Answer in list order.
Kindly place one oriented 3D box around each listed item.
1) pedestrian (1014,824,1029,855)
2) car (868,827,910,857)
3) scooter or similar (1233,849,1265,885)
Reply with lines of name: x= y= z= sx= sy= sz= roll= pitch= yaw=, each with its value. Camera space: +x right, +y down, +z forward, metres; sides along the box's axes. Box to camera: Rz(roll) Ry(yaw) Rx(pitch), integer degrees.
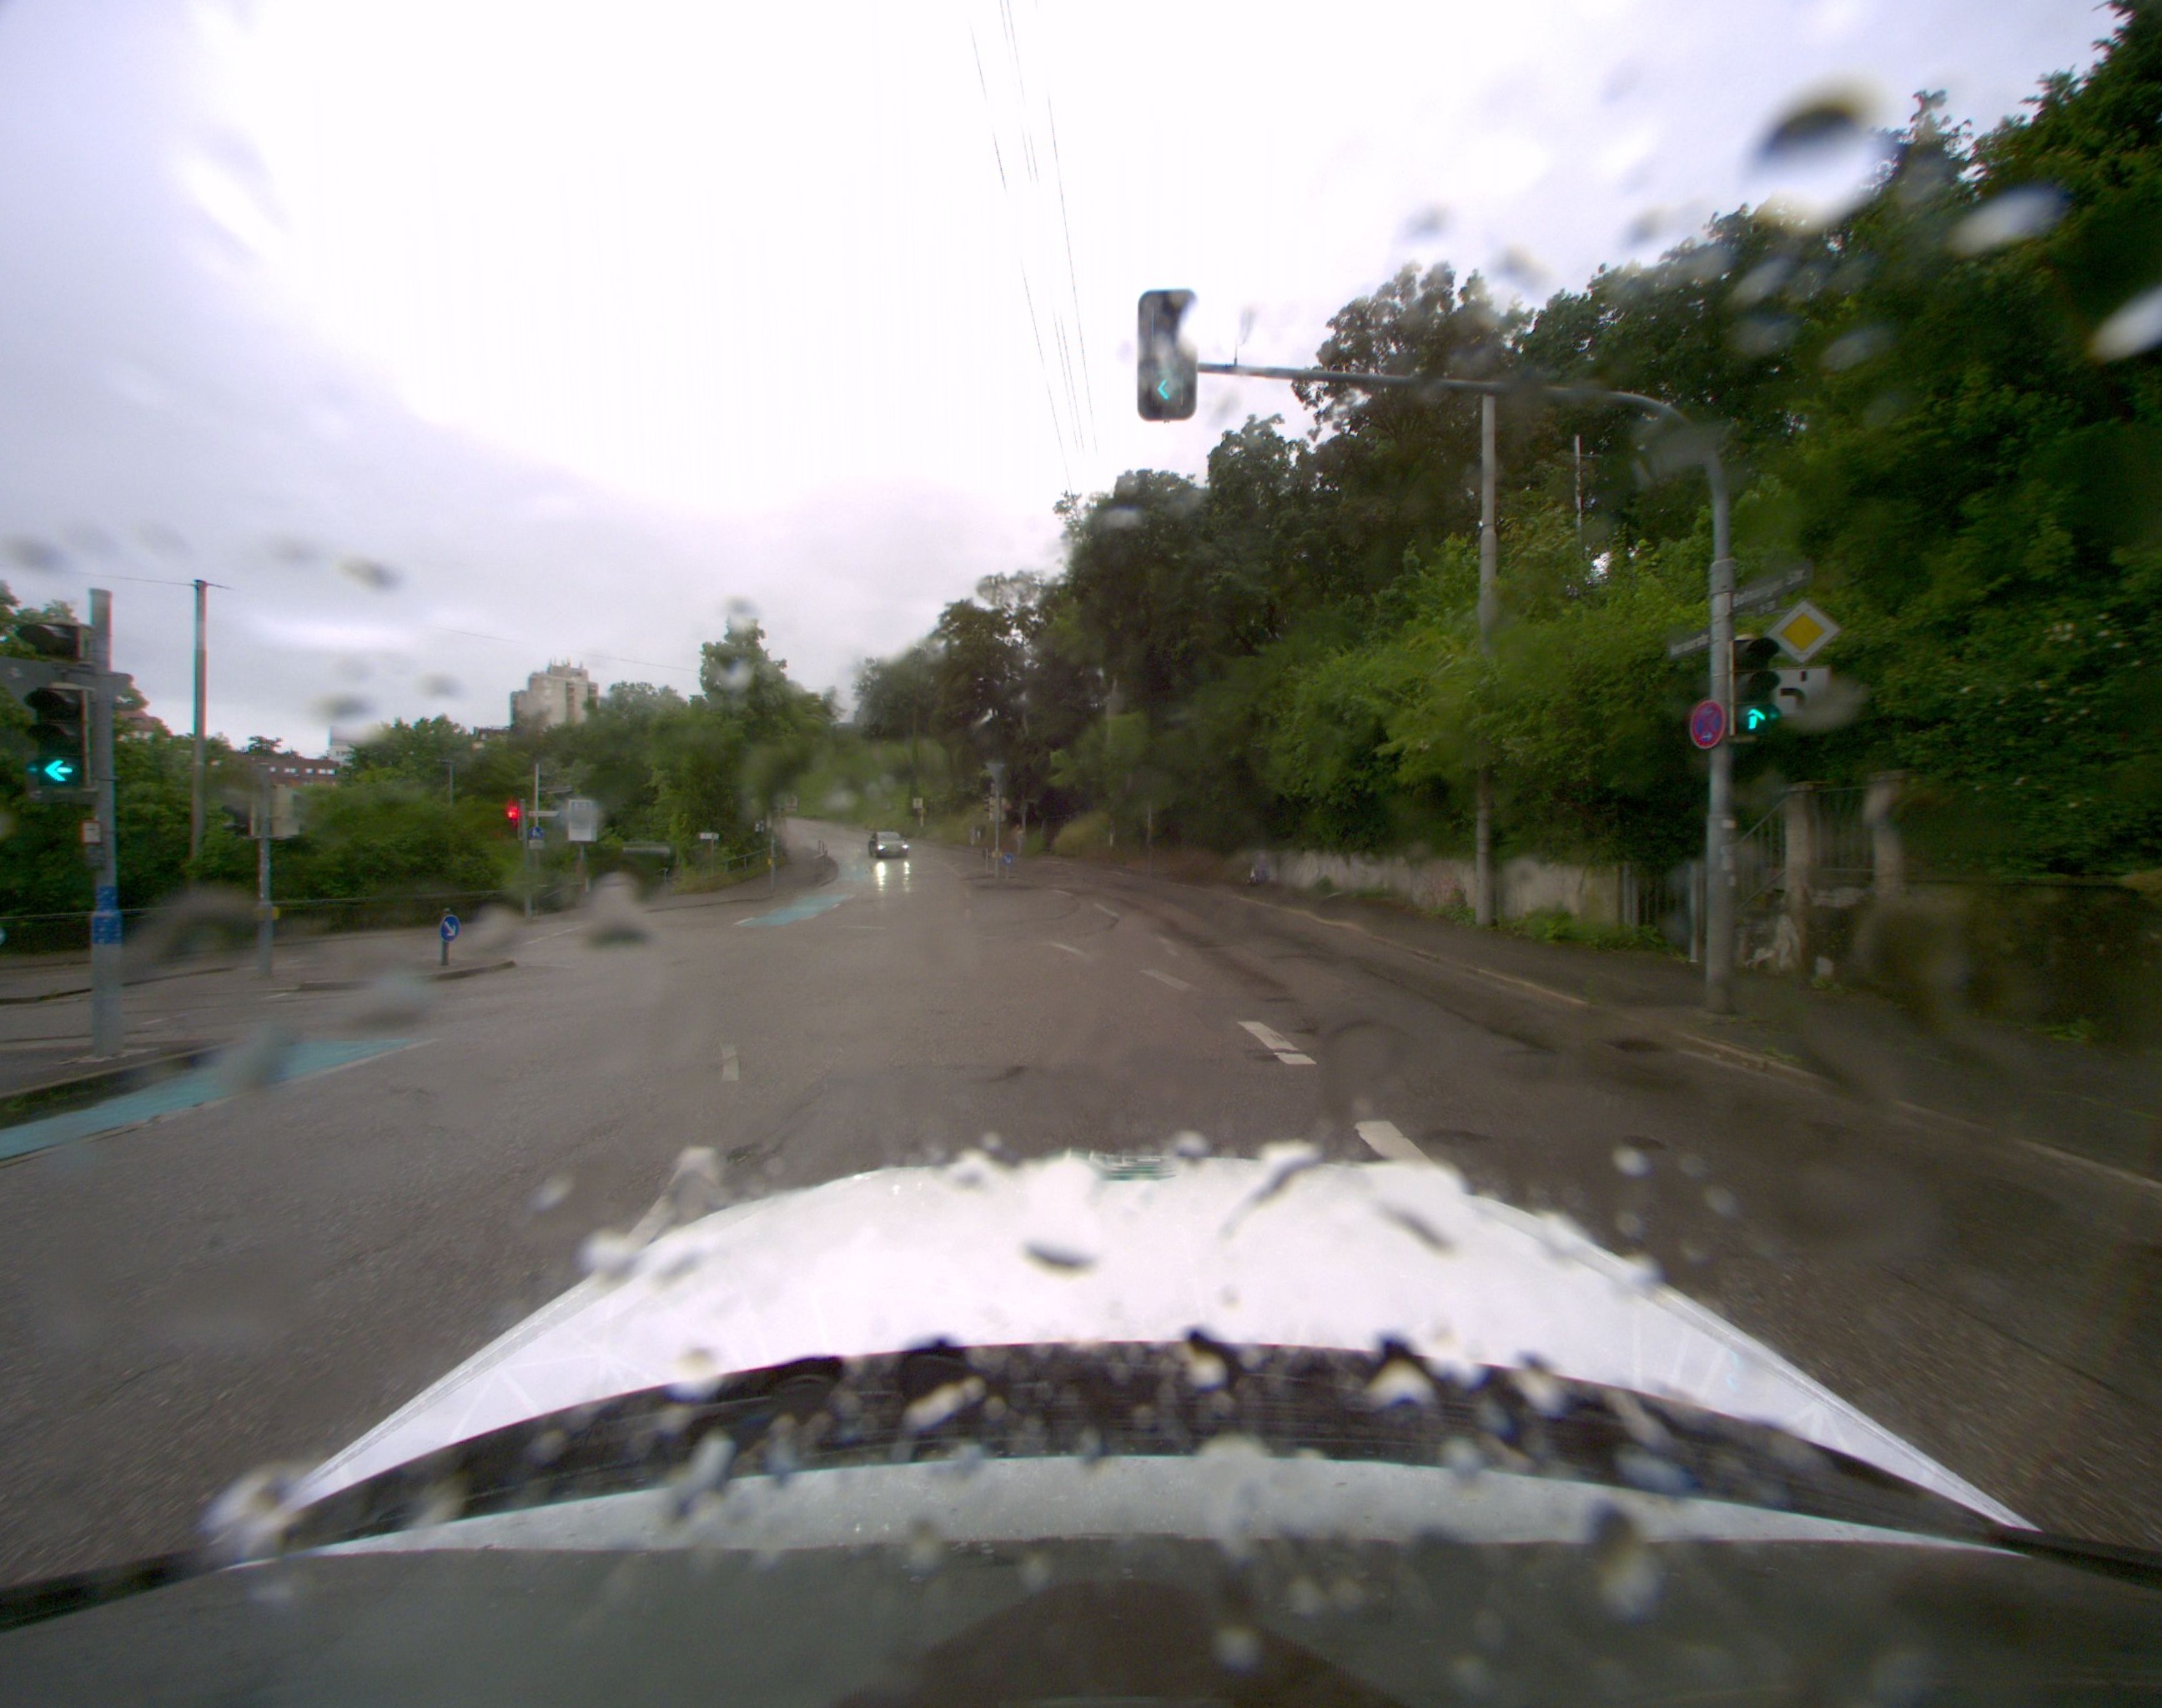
pedestrian: x=-3.462 y=-0.851 z=47.285 sx=0.650 sy=1.752 sz=0.793 roll=0 pitch=3 yaw=-23
car: x=-11.389 y=-0.766 z=48.083 sx=1.889 sy=1.521 sz=4.662 roll=-3 pitch=4 yaw=-20
scooter or similar: x=5.303 y=0.402 z=25.795 sx=0.600 sy=1.075 sz=1.767 roll=0 pitch=1 yaw=-2
